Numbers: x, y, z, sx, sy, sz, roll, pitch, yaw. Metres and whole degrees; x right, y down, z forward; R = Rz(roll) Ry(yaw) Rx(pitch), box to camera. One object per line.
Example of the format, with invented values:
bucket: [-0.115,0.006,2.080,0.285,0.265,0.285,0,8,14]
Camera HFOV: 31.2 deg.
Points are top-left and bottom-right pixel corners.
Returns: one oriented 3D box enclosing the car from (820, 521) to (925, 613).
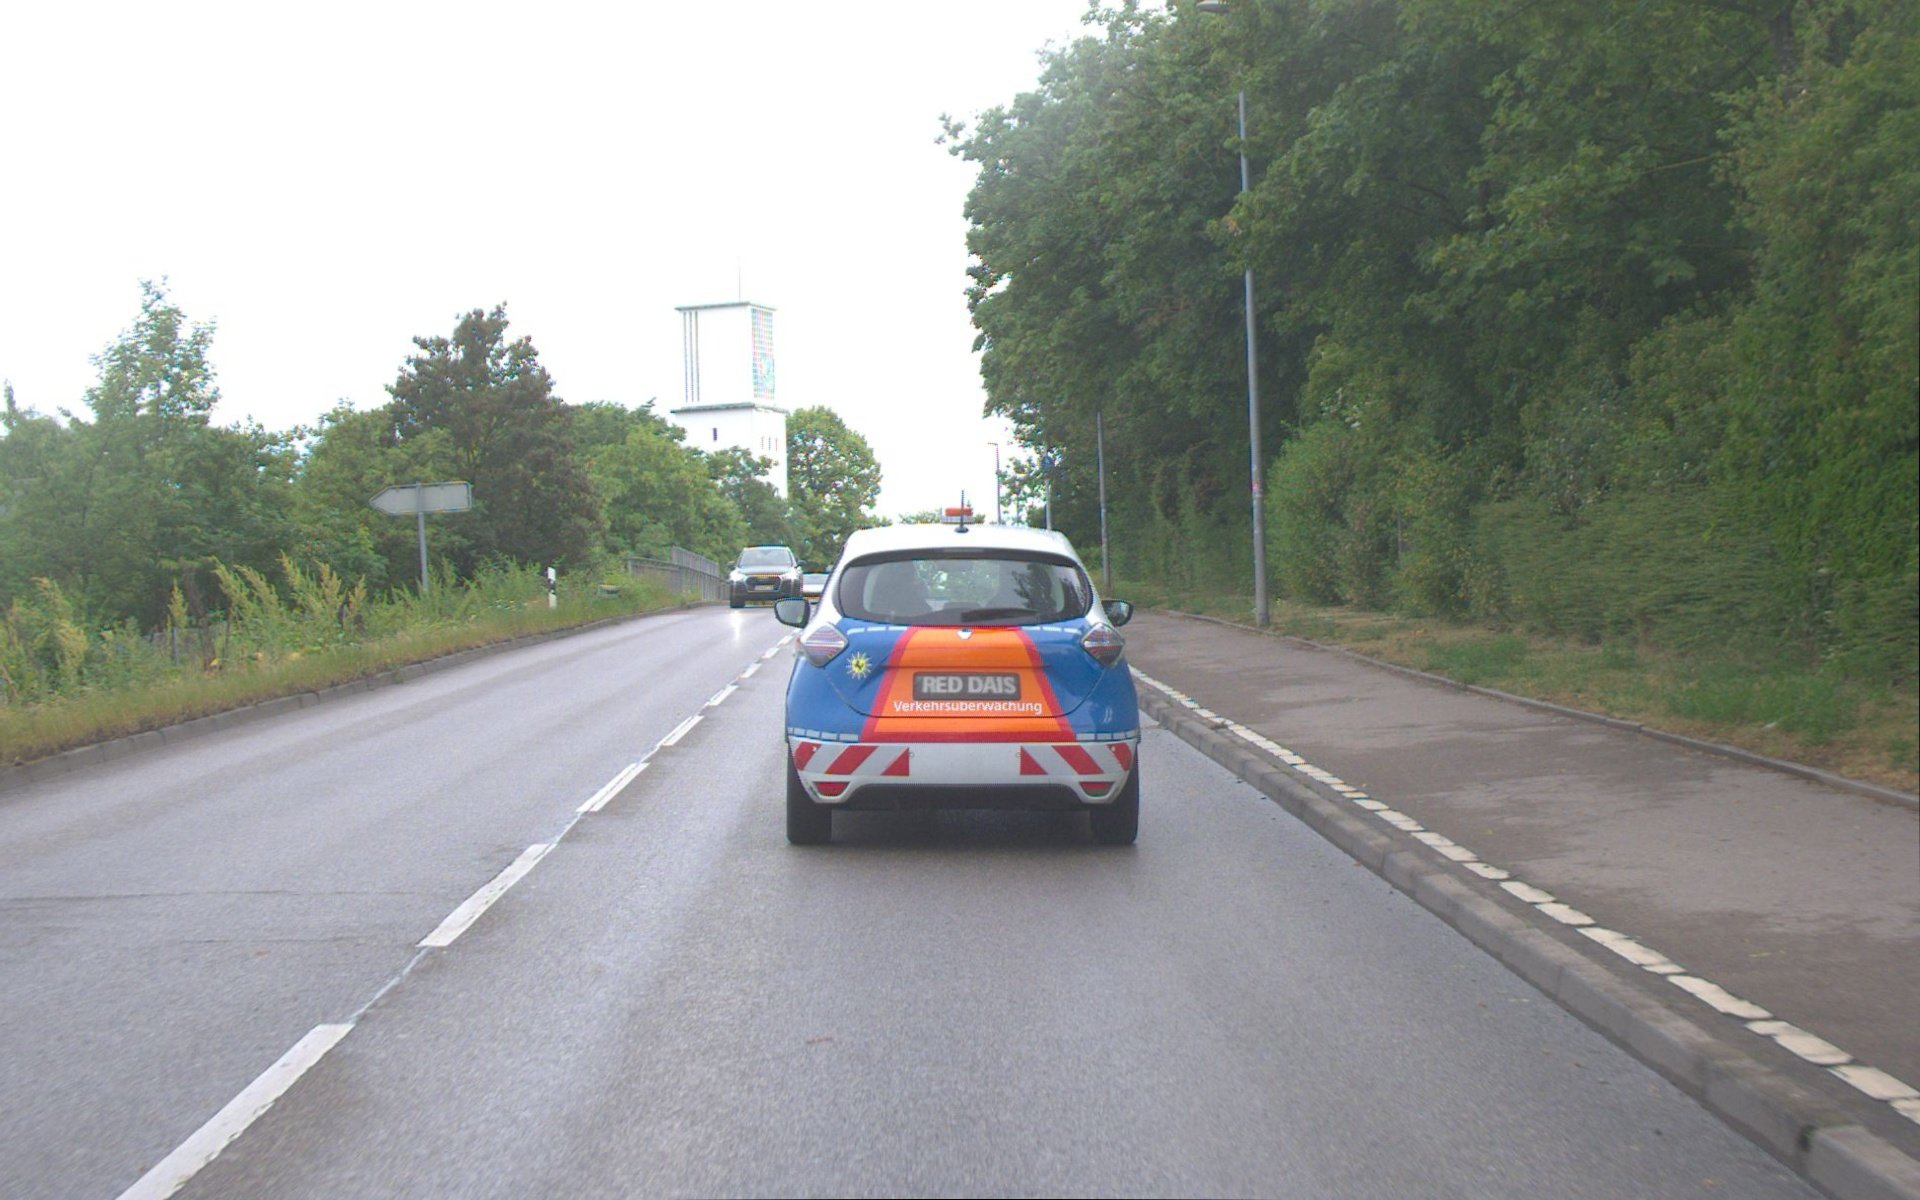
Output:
car: [-1.639,-0.606,63.561,1.802,1.584,3.563,-3,0,-2]

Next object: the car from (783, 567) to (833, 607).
car: [-5.980,-0.509,135.630,1.861,1.498,4.729,-1,1,-1]

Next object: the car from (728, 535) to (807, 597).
car: [-5.192,-0.942,93.180,1.869,1.580,4.415,-1,1,0]

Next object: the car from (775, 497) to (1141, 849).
car: [-0.042,0.339,17.629,1.657,1.587,3.568,-1,0,-1]
